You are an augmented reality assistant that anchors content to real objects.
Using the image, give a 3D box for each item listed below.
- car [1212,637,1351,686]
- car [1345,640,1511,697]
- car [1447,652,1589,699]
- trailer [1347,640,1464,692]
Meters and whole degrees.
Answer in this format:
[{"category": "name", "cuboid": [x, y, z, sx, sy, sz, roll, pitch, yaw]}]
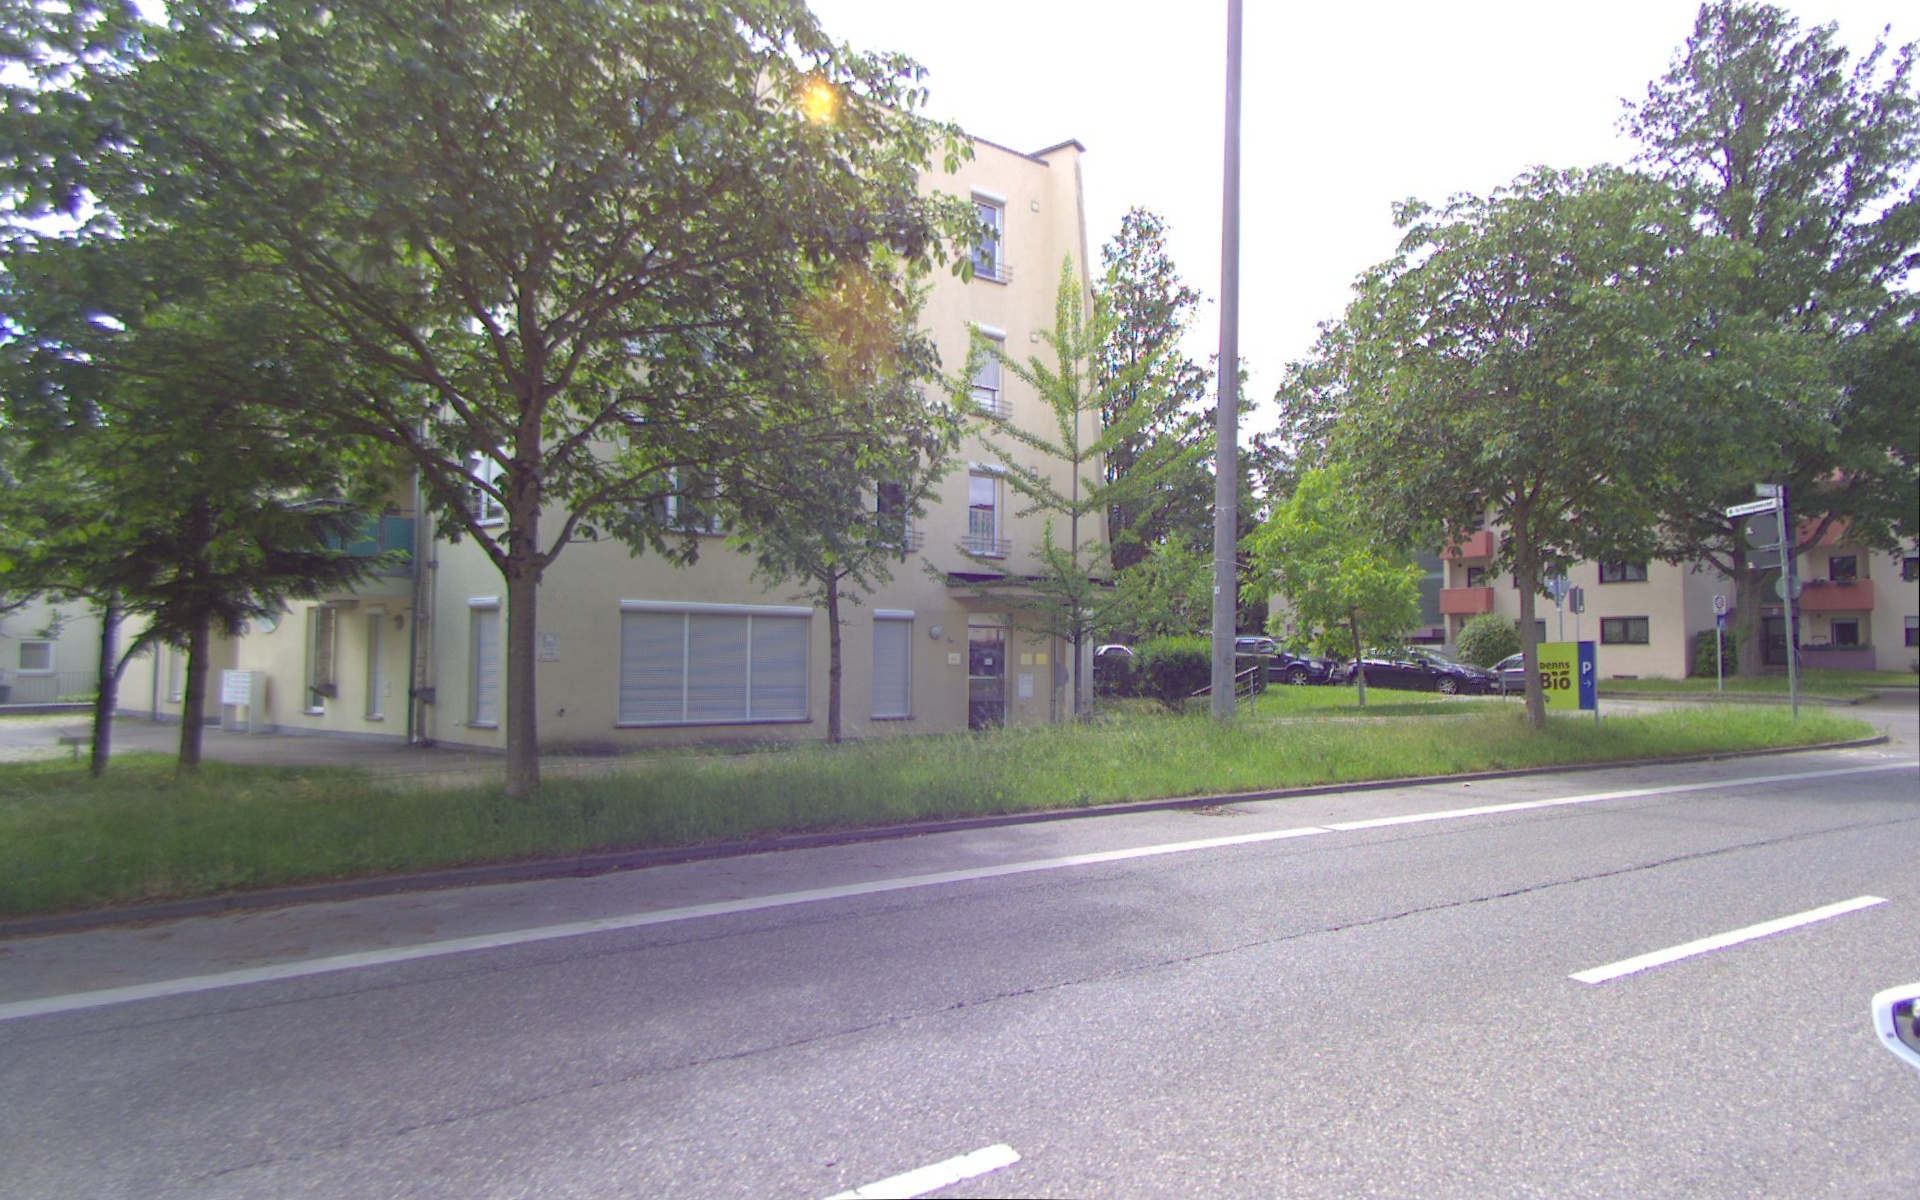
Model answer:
[{"category": "car", "cuboid": [10.672, 2.041, 33.631, 1.883, 1.543, 4.148, 2, -4, -36]}, {"category": "car", "cuboid": [13.593, 1.975, 29.348, 1.778, 1.417, 4.050, 6, -5, -35]}, {"category": "car", "cuboid": [19.801, 2.669, 35.766, 1.778, 1.417, 4.050, 6, -5, -35]}, {"category": "trailer", "cuboid": [17.372, 2.562, 39.288, 1.617, 1.821, 3.877, 6, -5, -37]}]
